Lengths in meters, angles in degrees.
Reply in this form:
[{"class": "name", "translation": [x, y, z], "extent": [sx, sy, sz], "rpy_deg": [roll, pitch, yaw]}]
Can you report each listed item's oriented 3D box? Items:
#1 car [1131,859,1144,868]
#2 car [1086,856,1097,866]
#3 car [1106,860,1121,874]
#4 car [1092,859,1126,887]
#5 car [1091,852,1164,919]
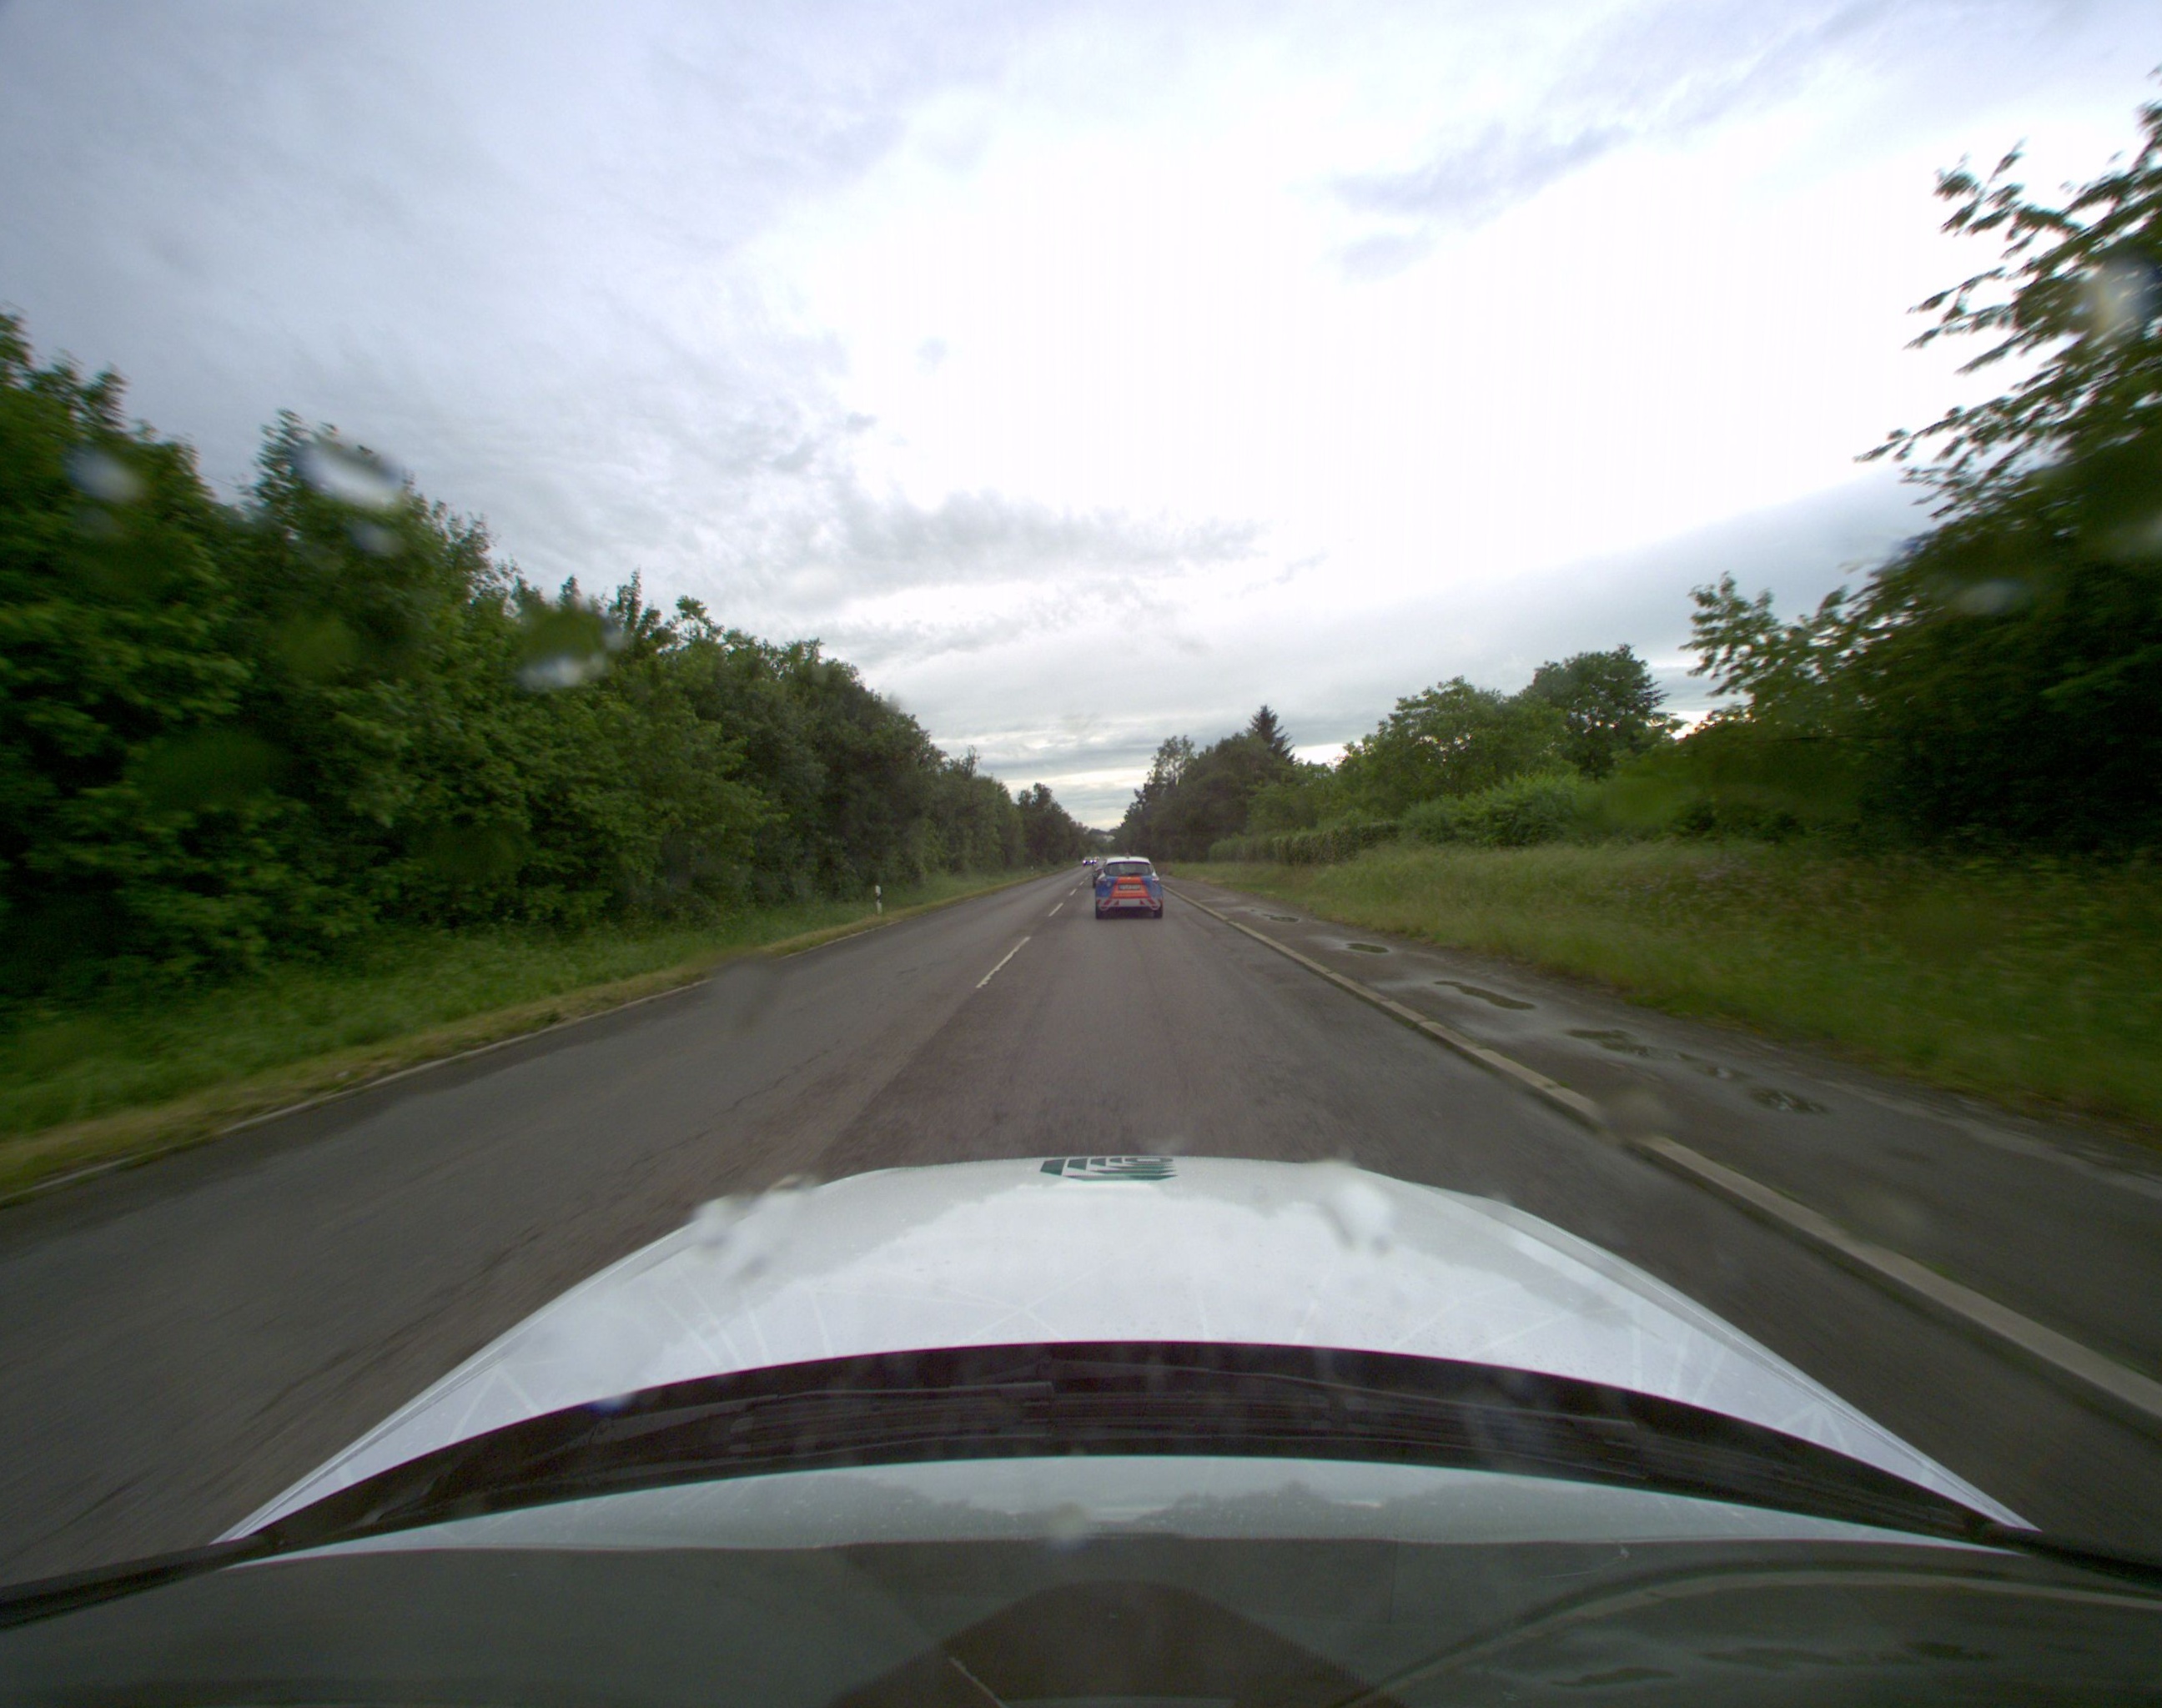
[{"class": "car", "translation": [8.950, 1.506, 129.338], "extent": [1.986, 1.376, 4.003], "rpy_deg": [-3, 0, 2]}, {"class": "car", "translation": [1.857, 1.255, 145.303], "extent": [1.898, 1.556, 4.517], "rpy_deg": [-3, 0, 2]}, {"class": "car", "translation": [4.236, 1.730, 106.591], "extent": [1.782, 1.720, 4.002], "rpy_deg": [-3, 0, 2]}, {"class": "car", "translation": [1.456, 0.940, 41.348], "extent": [1.592, 1.287, 3.478], "rpy_deg": [-3, 0, 3]}, {"class": "car", "translation": [1.199, 0.772, 21.762], "extent": [1.745, 1.555, 3.794], "rpy_deg": [-1, 1, 2]}]
